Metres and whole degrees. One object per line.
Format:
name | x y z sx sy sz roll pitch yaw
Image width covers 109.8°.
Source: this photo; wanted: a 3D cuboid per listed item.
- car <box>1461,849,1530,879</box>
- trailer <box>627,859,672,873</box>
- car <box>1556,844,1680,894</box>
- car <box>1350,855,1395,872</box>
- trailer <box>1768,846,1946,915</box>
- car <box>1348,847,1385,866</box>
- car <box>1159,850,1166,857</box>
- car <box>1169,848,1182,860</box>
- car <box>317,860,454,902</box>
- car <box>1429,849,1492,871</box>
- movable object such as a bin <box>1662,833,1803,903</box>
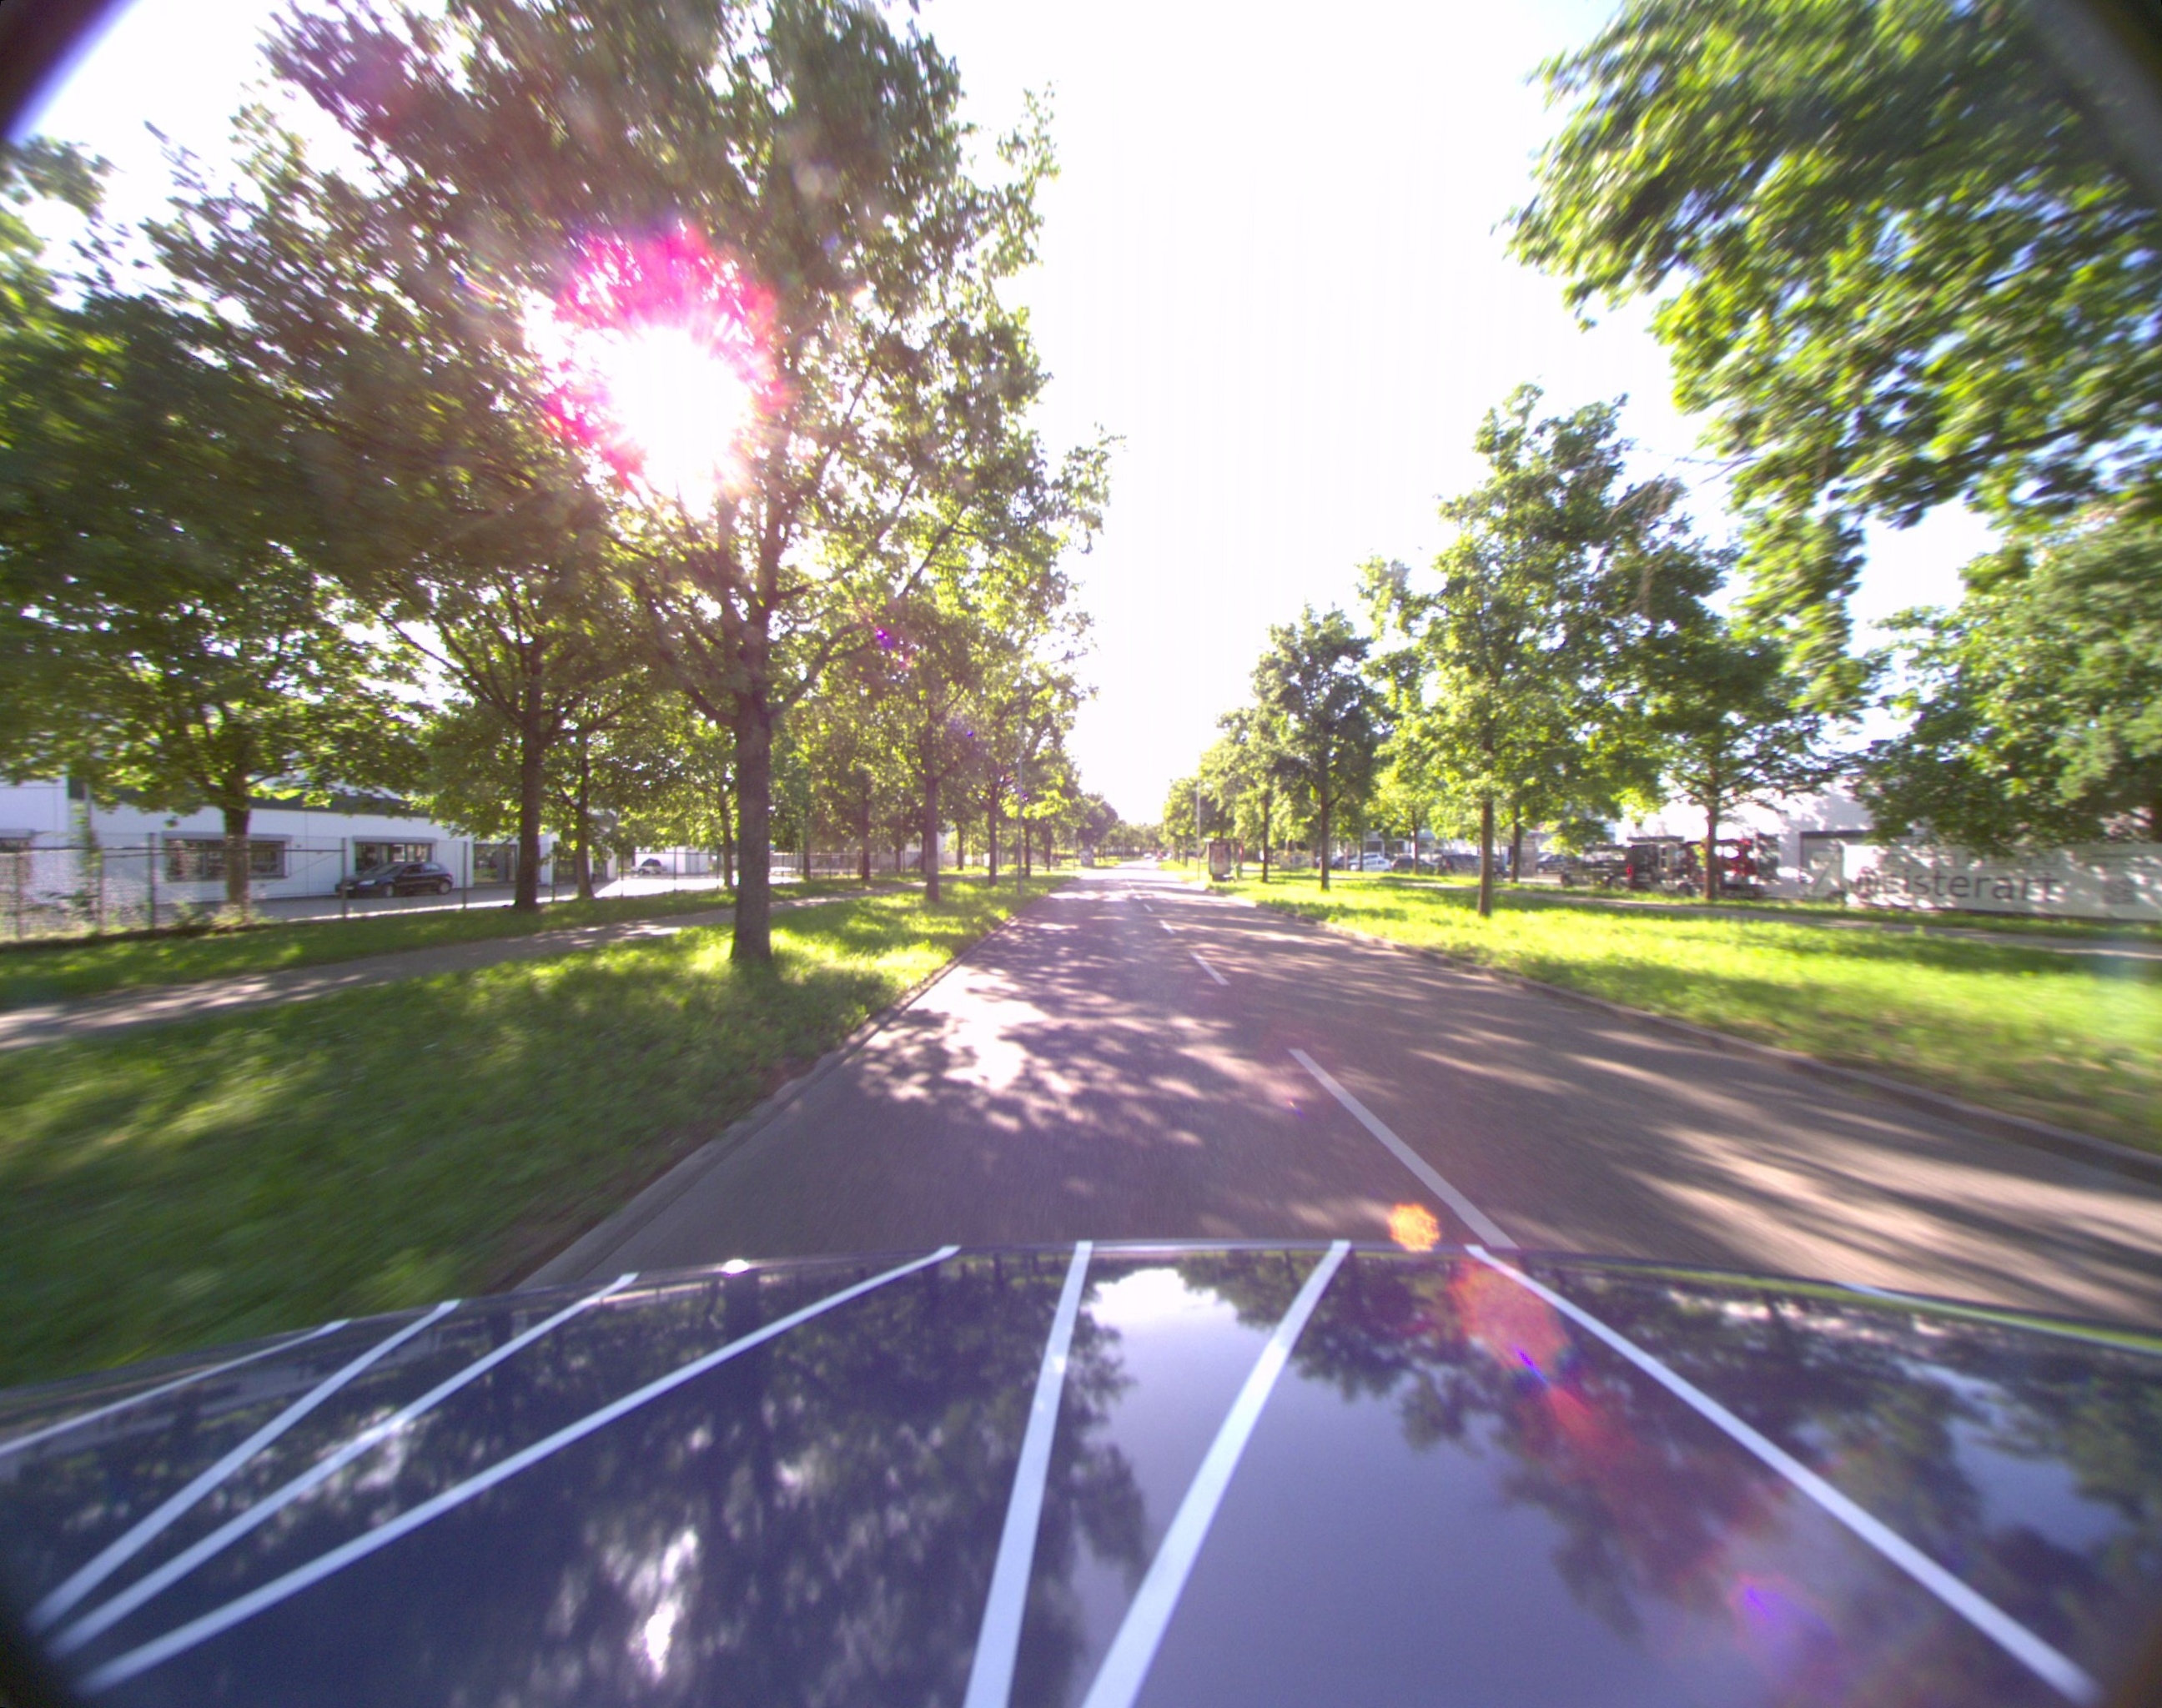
car | 27.846 0.659 51.094 3.989 2.002 2.004 0 0 31
trailer | -40.356 1.106 71.107 3.588 1.259 1.733 0 0 19
car | 25.022 0.658 35.733 1.998 2.162 5.672 -1 0 2
car | 27.646 0.885 72.100 3.885 1.493 2.003 -2 1 22
trailer | 24.394 0.767 24.112 1.758 2.002 3.965 0 0 4
car | 31.088 0.268 82.672 4.007 1.827 1.995 -3 1 -38
car | 22.389 -0.204 208.529 1.997 2.002 4.002 0 0 8
car | 15.823 -0.007 127.332 1.997 2.002 4.002 0 0 8
car | -28.968 1.075 31.867 1.720 1.497 4.159 -2 1 3
car | 34.645 0.548 69.519 5.039 1.827 2.003 -2 1 25
movable object such as a bin | 25.389 0.499 29.834 1.998 2.501 4.236 -2 1 3
